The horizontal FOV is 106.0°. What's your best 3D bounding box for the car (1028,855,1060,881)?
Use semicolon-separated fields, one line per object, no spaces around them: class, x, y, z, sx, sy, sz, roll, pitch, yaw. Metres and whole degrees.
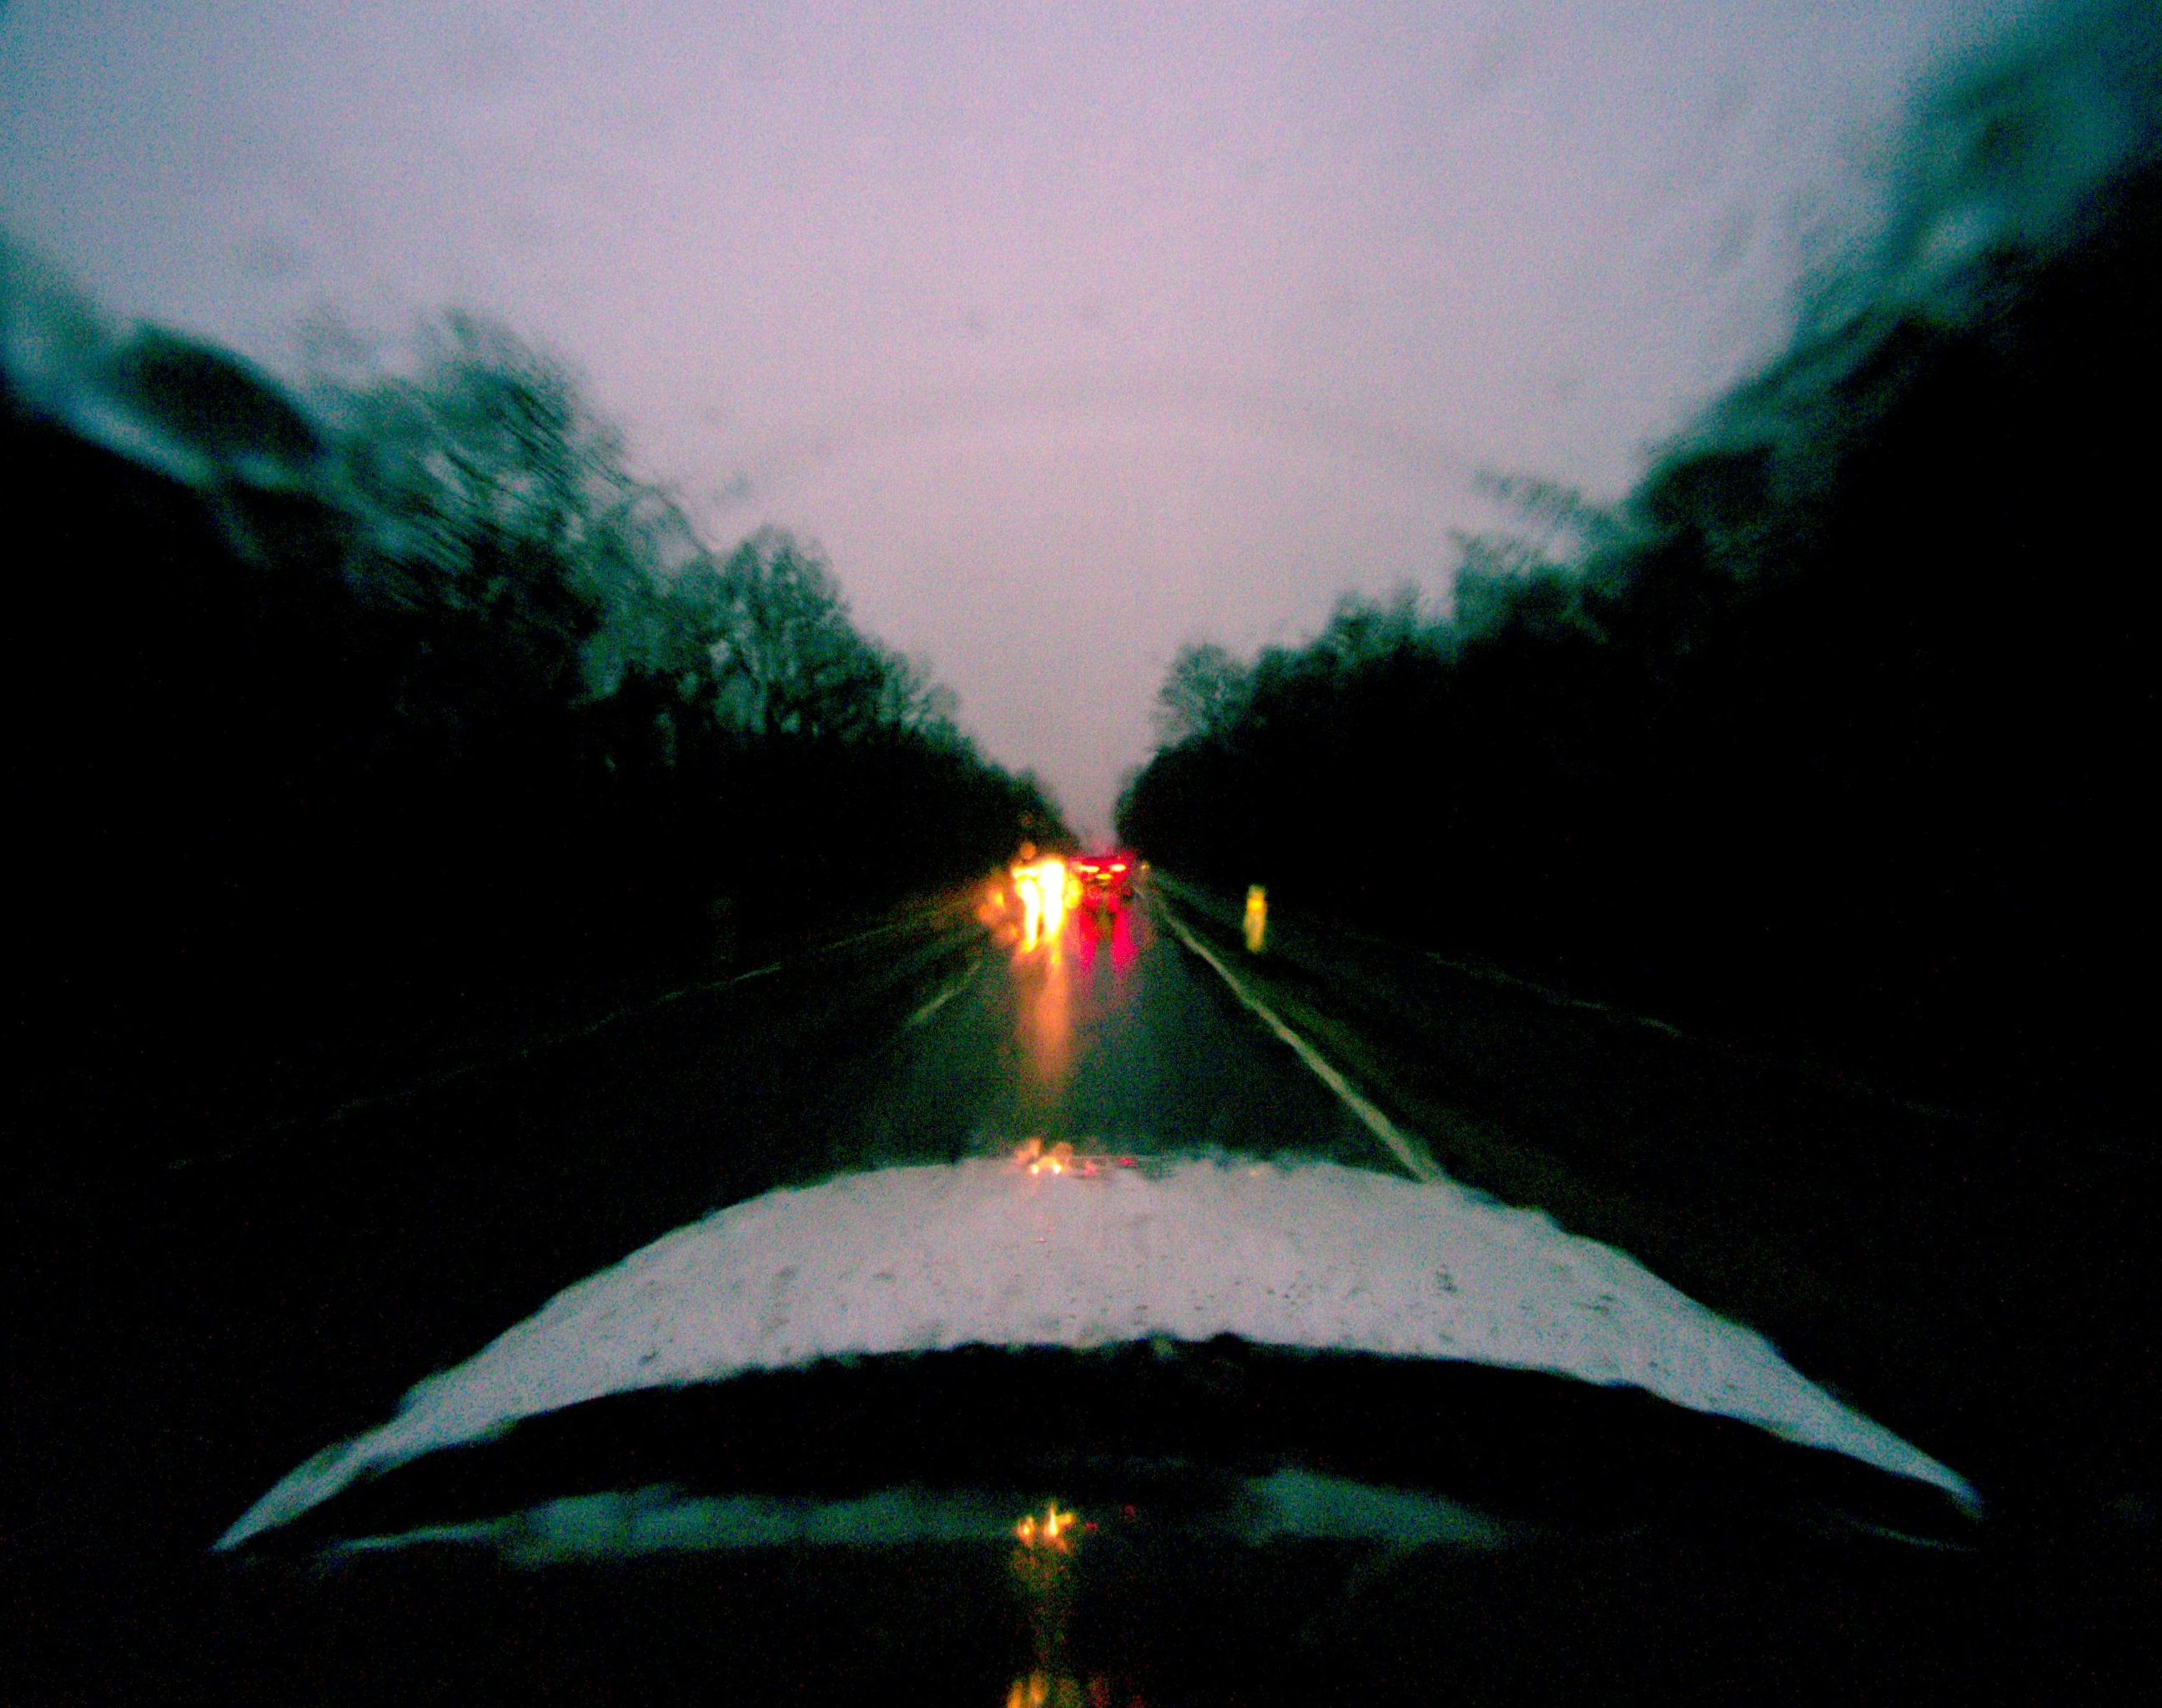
car;-2.132;0.773;48.049;1.613;1.389;4.072;-2;0;0
